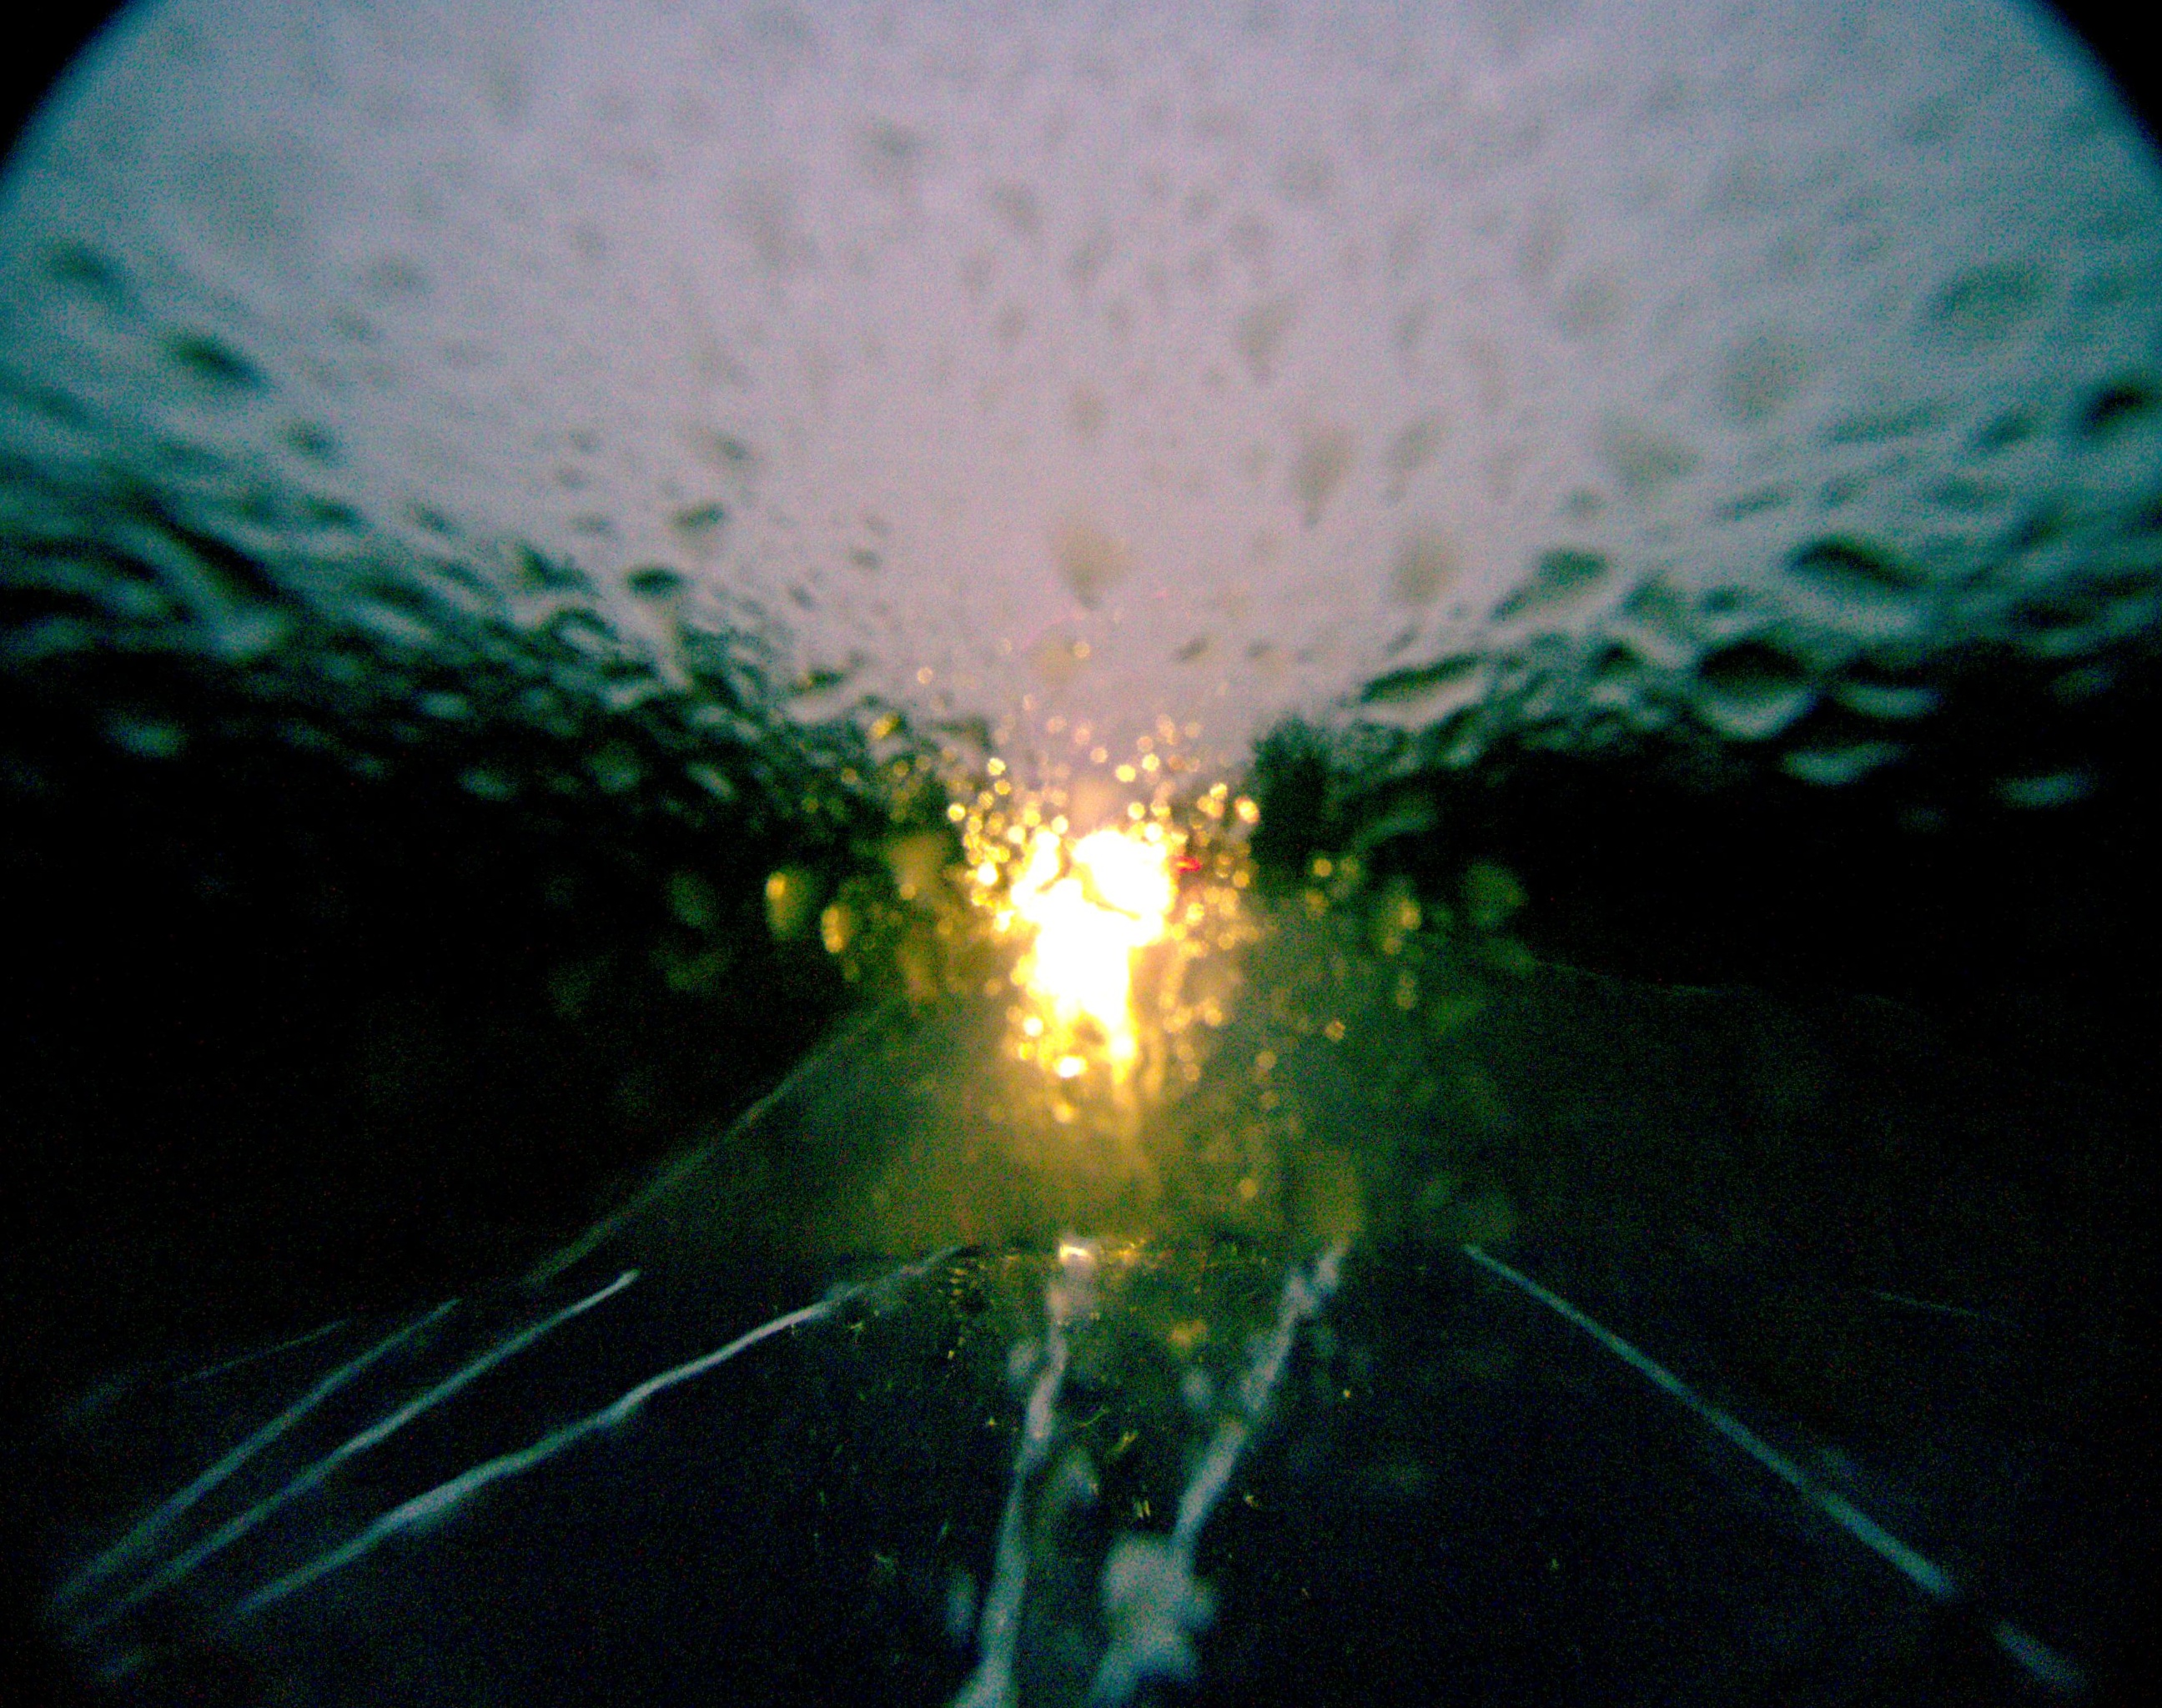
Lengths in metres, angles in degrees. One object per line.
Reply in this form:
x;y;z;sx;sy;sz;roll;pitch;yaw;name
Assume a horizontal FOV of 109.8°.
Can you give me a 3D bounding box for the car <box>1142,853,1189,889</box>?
4.013;0.767;36.839;1.738;1.525;4.959;-2;0;0;car
